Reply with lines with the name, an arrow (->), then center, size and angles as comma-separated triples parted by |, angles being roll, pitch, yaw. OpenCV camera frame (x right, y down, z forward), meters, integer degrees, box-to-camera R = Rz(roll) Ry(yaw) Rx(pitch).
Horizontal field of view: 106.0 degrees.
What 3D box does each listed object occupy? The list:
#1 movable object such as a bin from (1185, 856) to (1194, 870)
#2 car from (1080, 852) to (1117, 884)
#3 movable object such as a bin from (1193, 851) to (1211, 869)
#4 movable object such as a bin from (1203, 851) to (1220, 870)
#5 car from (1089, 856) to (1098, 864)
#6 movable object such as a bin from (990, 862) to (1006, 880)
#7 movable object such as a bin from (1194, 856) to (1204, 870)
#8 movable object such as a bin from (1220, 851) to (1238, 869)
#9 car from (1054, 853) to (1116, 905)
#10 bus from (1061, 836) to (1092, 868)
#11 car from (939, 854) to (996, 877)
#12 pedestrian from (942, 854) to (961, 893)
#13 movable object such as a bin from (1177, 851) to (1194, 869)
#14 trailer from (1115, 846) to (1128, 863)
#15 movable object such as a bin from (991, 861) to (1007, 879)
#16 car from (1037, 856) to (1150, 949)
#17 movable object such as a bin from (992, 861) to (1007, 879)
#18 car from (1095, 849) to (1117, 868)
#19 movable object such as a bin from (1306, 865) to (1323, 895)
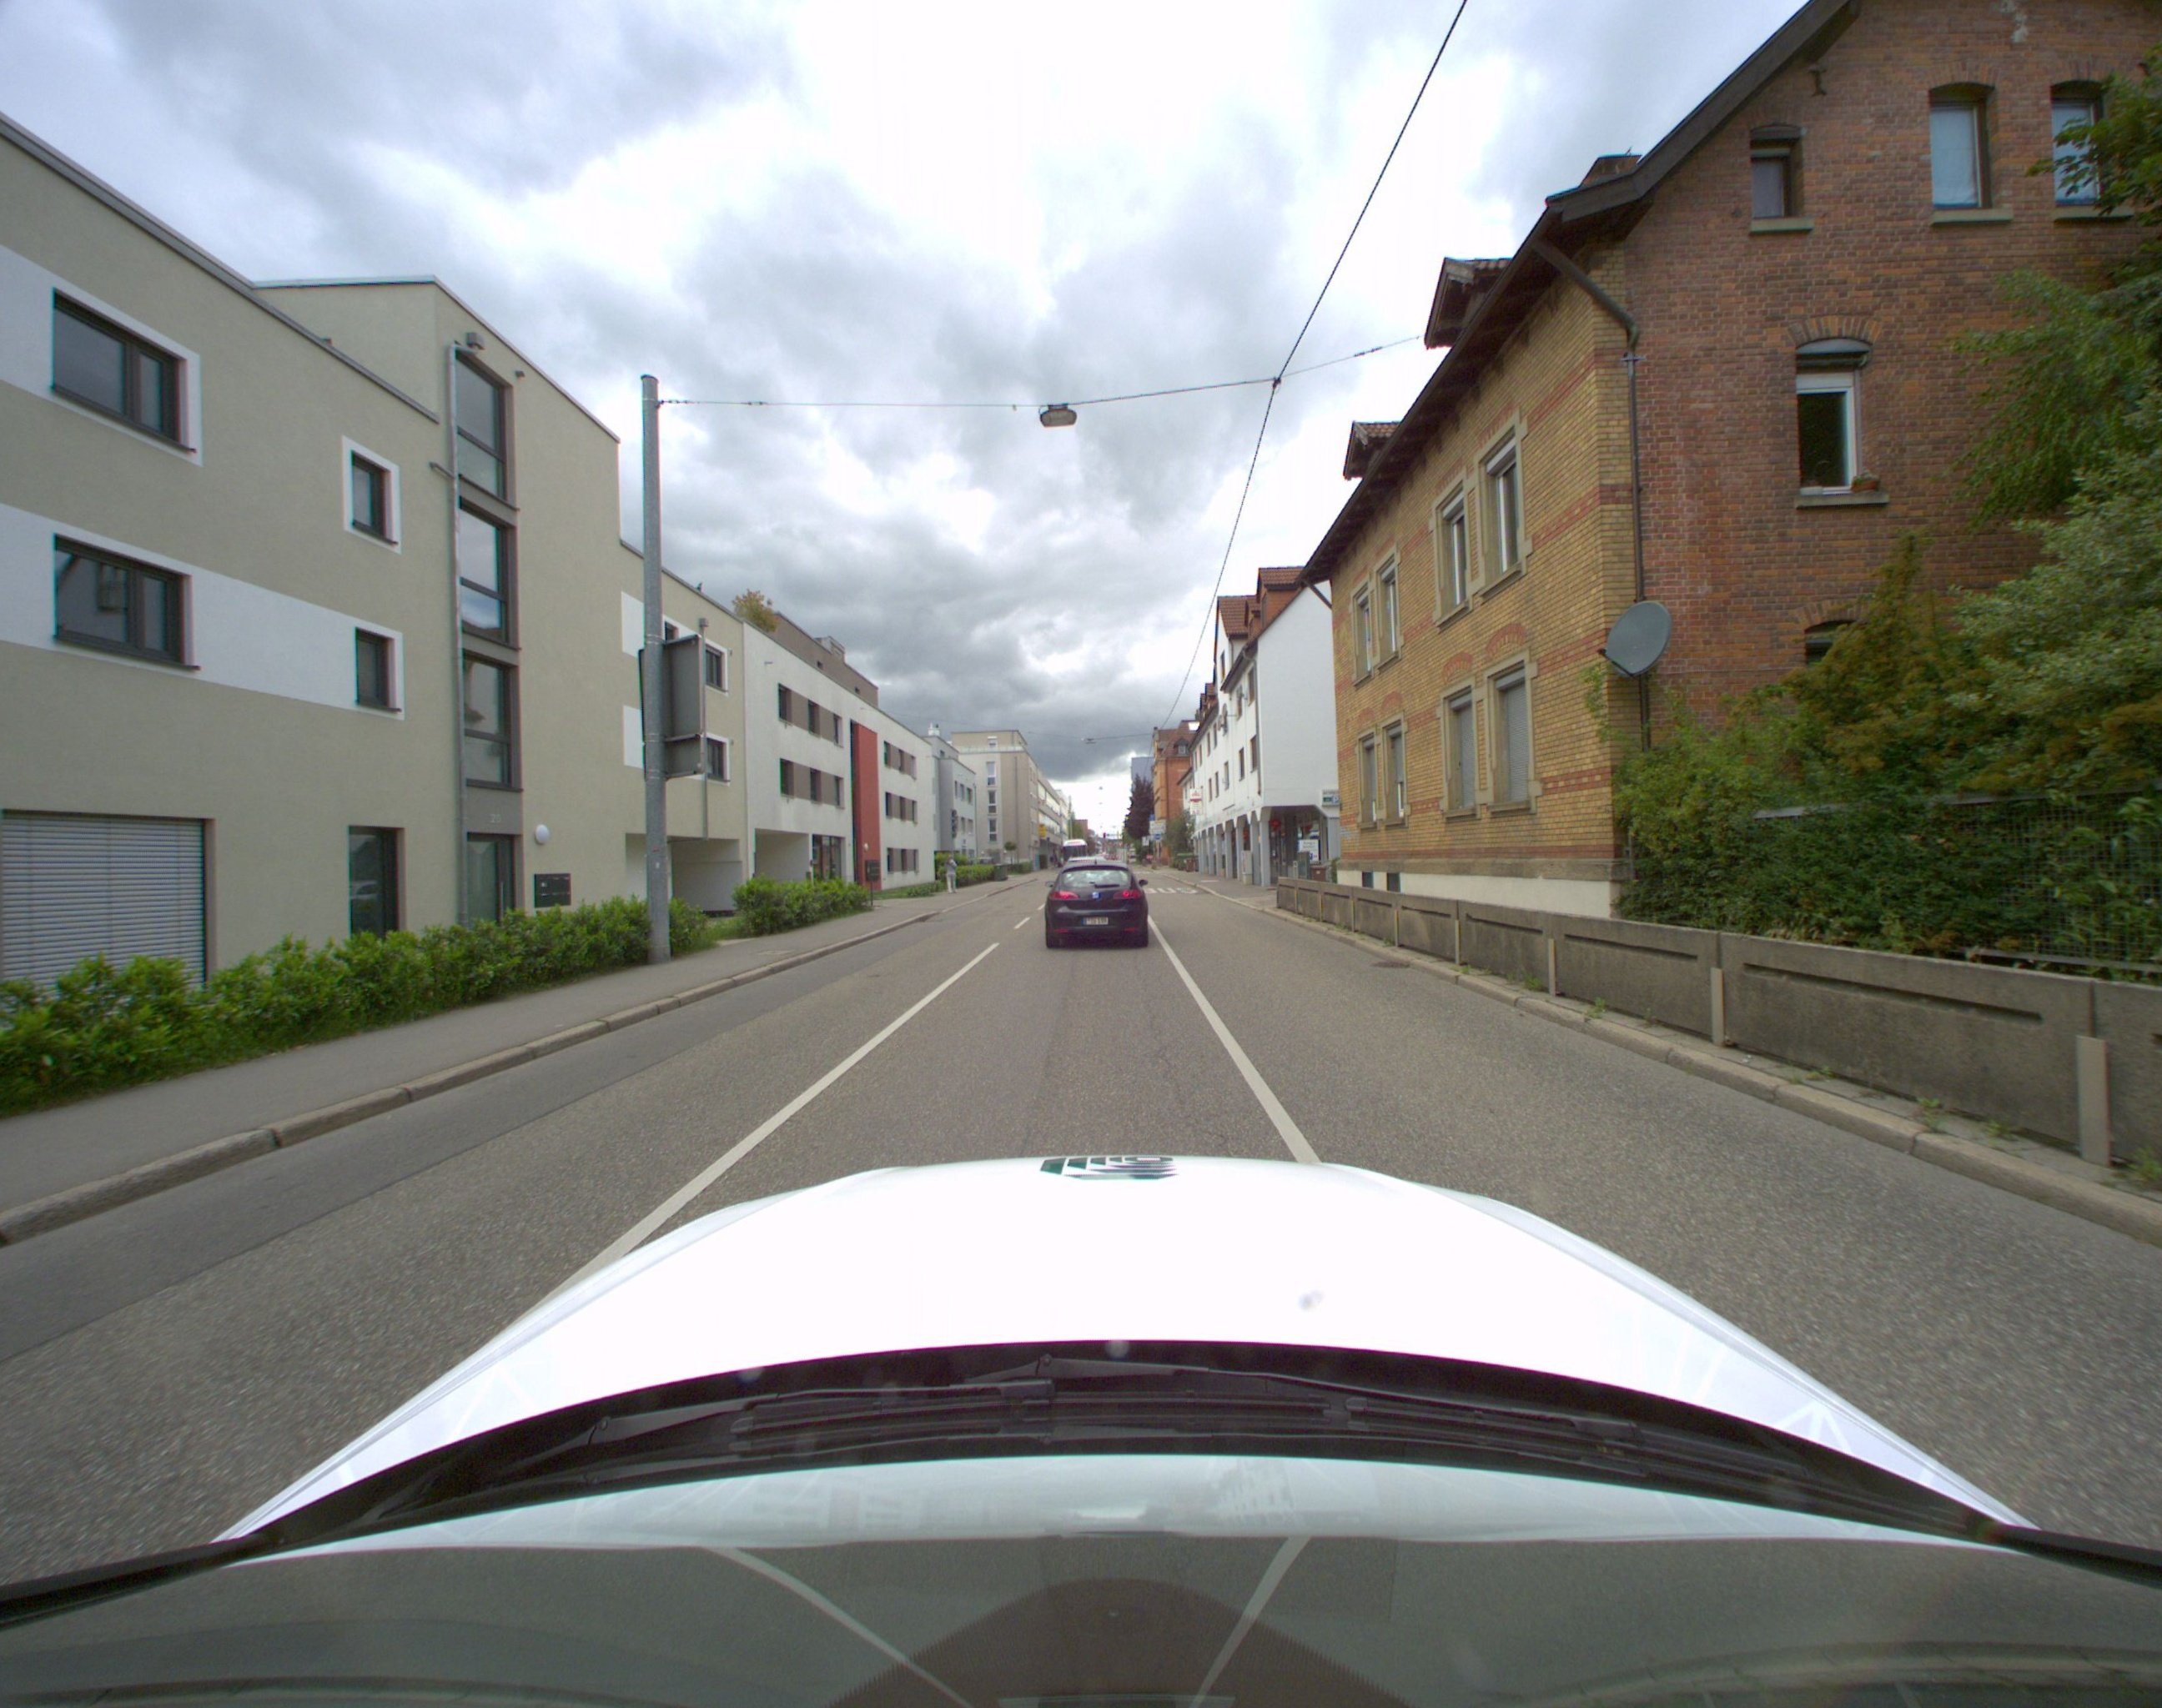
movable object such as a bin -> 8.512, 0.720, 63.847 | 0.680, 1.067, 0.973 | -2, 0, 6
car -> 0.892, 0.696, 42.266 | 1.797, 1.553, 3.738 | -2, 0, 1
movable object such as a bin -> 10.012, 0.458, 67.525 | 1.262, 1.435, 1.308 | -2, 0, 2
movable object such as a bin -> 10.166, 0.502, 63.432 | 1.203, 1.417, 1.261 | -2, 0, 5
car -> 2.705, 1.274, 174.886 | 1.872, 1.451, 4.215 | -4, 0, 1
movable object such as a bin -> -5.259, 1.053, 51.528 | 0.892, 1.089, 0.792 | -2, 0, -3
movable object such as a bin -> 9.237, 0.699, 63.803 | 0.694, 1.079, 0.973 | -2, 0, 6
movable object such as a bin -> 11.523, 0.464, 63.382 | 1.203, 1.417, 1.261 | -2, 0, 5
car -> 0.158, 0.746, 25.979 | 1.797, 1.492, 3.738 | -2, 0, 1
bus -> -0.421, -0.202, 92.389 | 2.931, 3.274, 12.012 | -3, 0, 2
car -> -9.046, 0.906, 65.188 | 4.143, 1.667, 1.727 | -2, -1, 5
pedestrian -> -5.550, 0.839, 34.904 | 0.636, 1.642, 0.520 | -2, 0, 1
movable object such as a bin -> 8.672, 0.516, 67.769 | 1.262, 1.417, 1.163 | -2, 0, 2
trailer -> 6.512, 0.137, 131.992 | 1.986, 2.607, 5.350 | -2, 0, 1
movable object such as a bin -> -5.293, 1.015, 52.397 | 0.954, 1.151, 0.839 | -2, 0, -3
car -> 0.265, 0.776, 14.916 | 1.759, 1.433, 3.830 | -2, 0, 2
movable object such as a bin -> -5.315, 1.034, 53.226 | 0.946, 1.151, 0.748 | -2, 0, -3
car -> 2.169, 0.367, 71.752 | 1.797, 1.553, 3.738 | -2, 0, 1
movable object such as a bin -> 7.297, 0.805, 25.451 | 0.396, 0.903, 0.456 | -2, 0, 2
